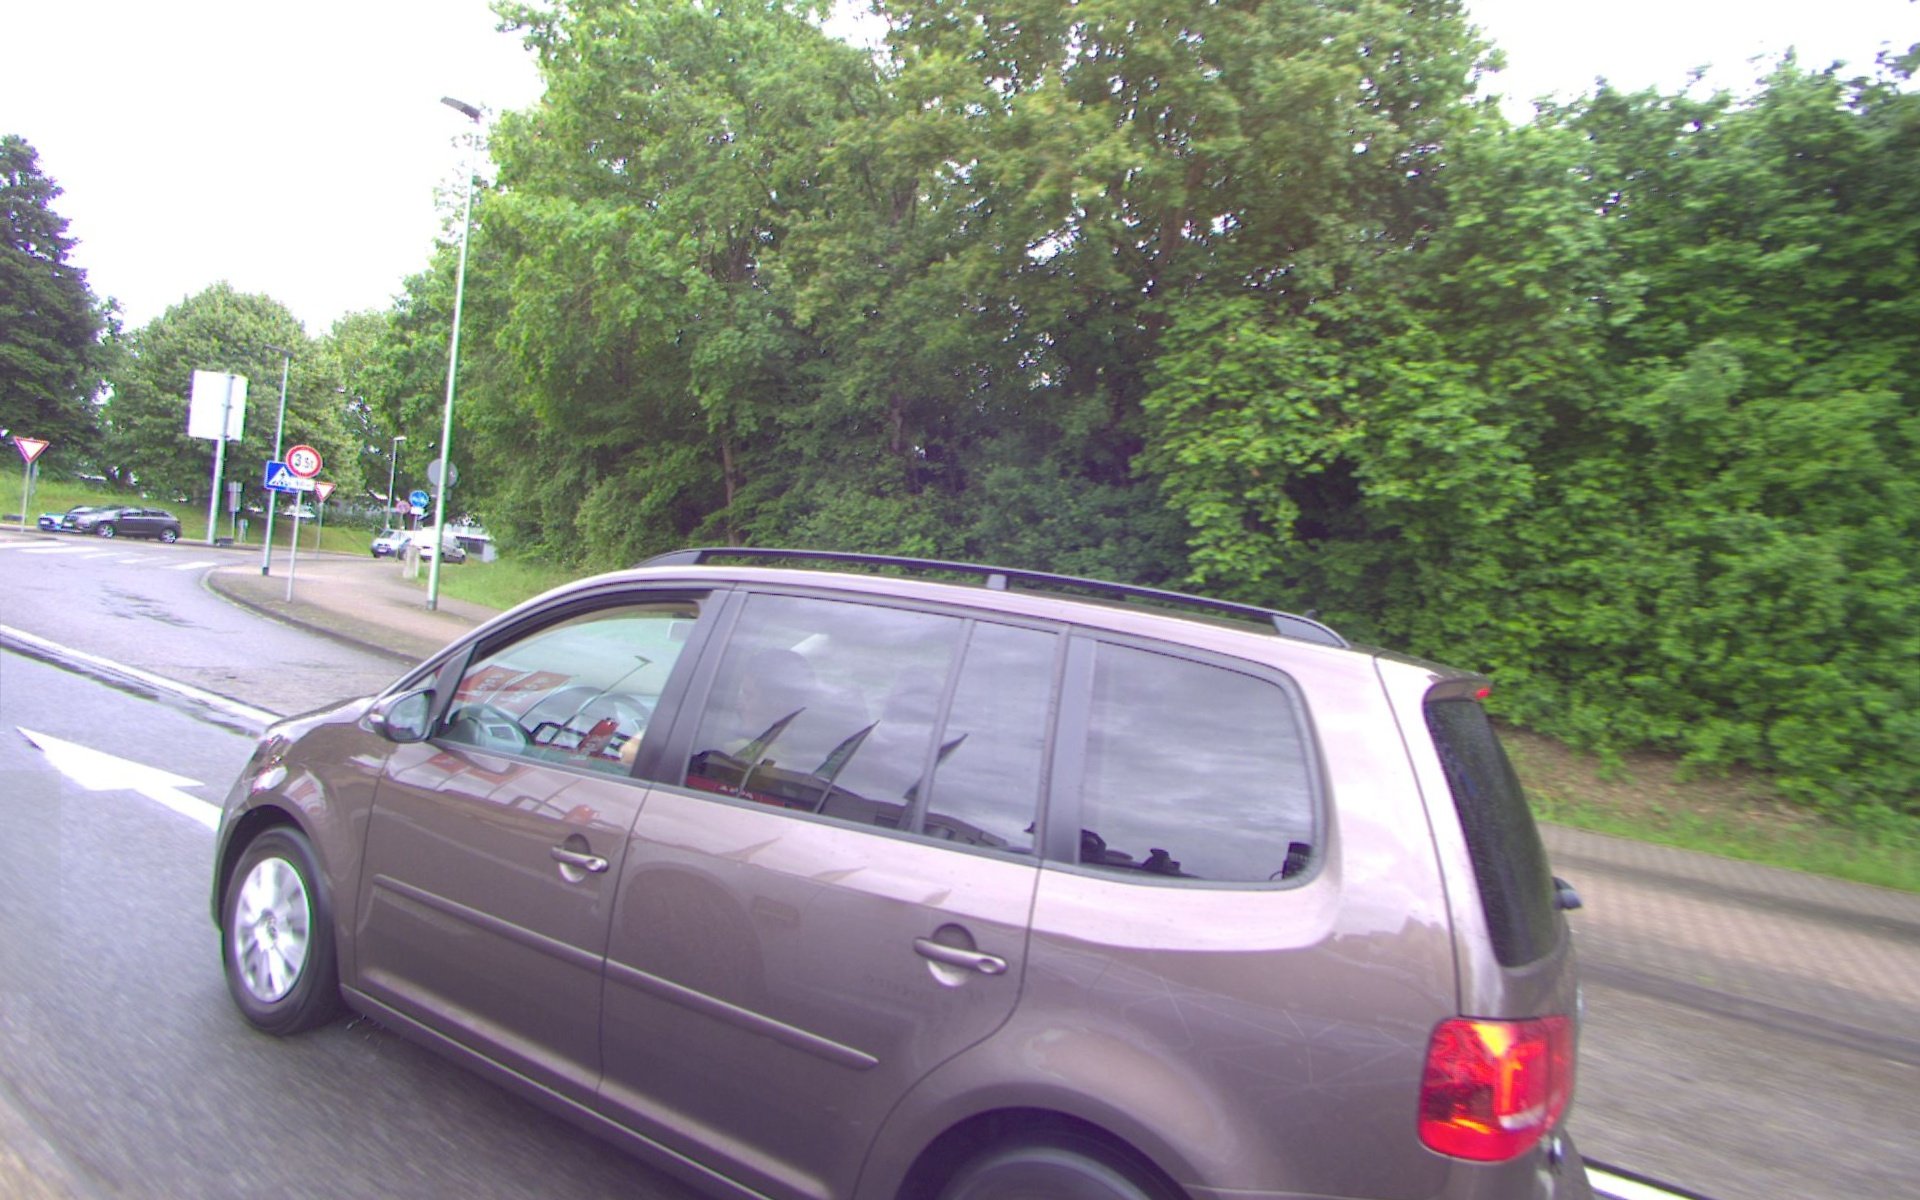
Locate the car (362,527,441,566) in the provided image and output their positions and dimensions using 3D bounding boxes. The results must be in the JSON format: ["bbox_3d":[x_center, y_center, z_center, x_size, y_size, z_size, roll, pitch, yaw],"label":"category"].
[{"bbox_3d":[-35.204,-3.364,63.560,1.865,1.873,4.744,8,0,4],"label":"car"}]

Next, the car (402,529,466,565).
[{"bbox_3d":[-31.196,-3.132,59.774,1.788,1.729,3.941,8,0,-5],"label":"car"}]

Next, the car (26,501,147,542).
[{"bbox_3d":[-40.197,-3.590,46.422,1.578,1.310,4.000,8,1,13],"label":"car"}]

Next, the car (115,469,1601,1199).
[{"bbox_3d":[-0.579,0.683,3.121,4.060,1.615,1.717,8,0,30],"label":"car"}]

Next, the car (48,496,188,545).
[{"bbox_3d":[-37.366,-3.480,44.793,1.866,1.485,4.330,7,0,21],"label":"car"}]
